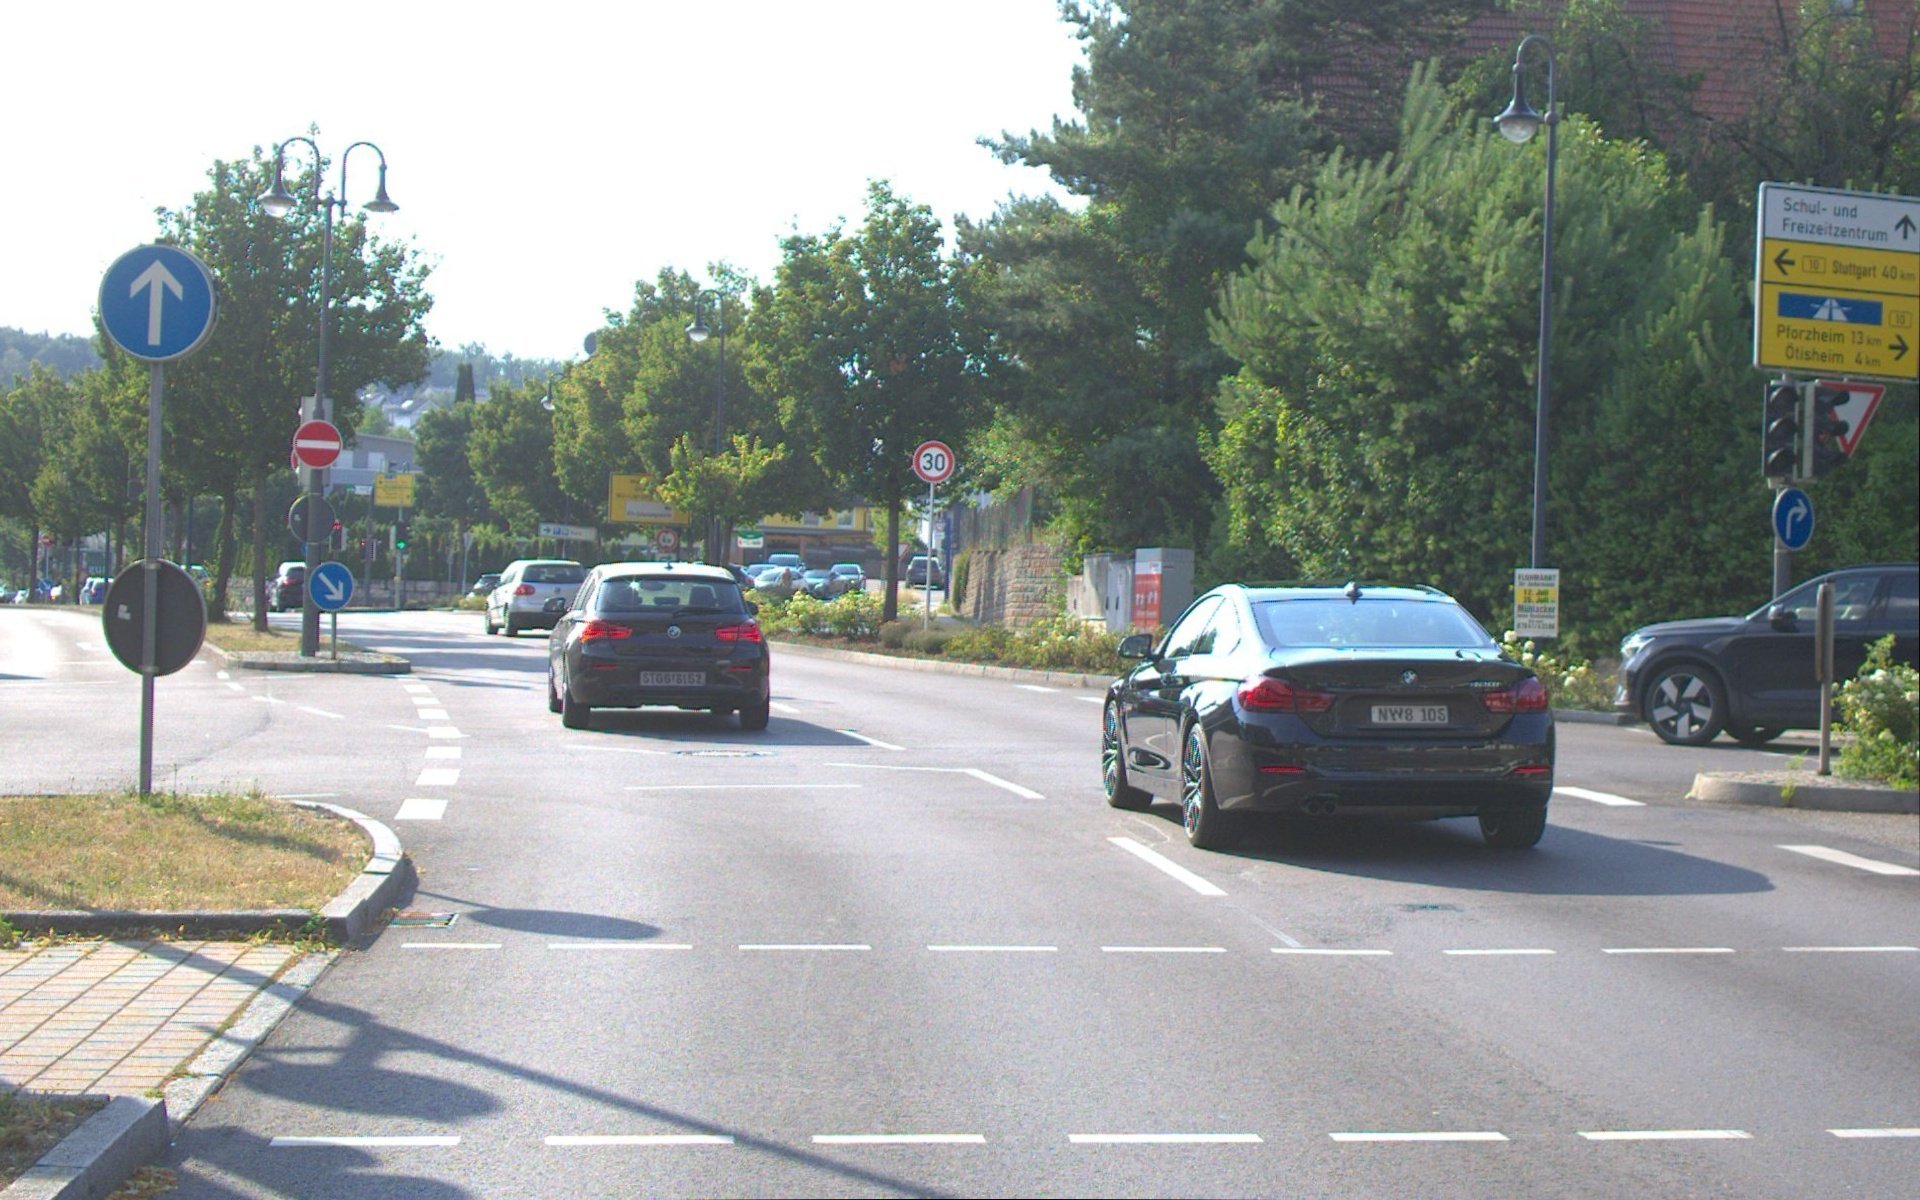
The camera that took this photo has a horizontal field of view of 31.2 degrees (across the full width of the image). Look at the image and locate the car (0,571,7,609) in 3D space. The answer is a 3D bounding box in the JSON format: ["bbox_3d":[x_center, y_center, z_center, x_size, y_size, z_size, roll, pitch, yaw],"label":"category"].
[{"bbox_3d":[-43.600,-0.486,153.957,1.729,1.673,4.001,1,0,-15],"label":"car"}]

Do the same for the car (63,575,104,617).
[{"bbox_3d":[-43.507,-0.212,170.690,1.772,2.007,4.001,1,1,-13],"label":"car"}]

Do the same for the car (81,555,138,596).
[{"bbox_3d":[-38.658,-1.126,156.164,2.216,1.763,4.456,1,1,-17],"label":"car"}]

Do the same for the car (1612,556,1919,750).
[{"bbox_3d":[7.948,0.446,29.418,4.266,1.561,1.789,2,1,35],"label":"car"}]

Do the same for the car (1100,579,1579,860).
[{"bbox_3d":[1.948,0.577,19.012,1.920,1.359,4.353,1,0,-3],"label":"car"}]

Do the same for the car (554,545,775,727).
[{"bbox_3d":[-2.717,0.279,30.840,1.720,1.485,4.354,1,0,-8],"label":"car"}]

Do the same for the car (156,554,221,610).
[{"bbox_3d":[-25.298,-0.606,112.612,1.755,1.763,3.972,1,0,-17],"label":"car"}]

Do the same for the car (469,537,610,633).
[{"bbox_3d":[-8.155,-0.304,66.387,1.924,1.763,4.456,1,1,-17],"label":"car"}]

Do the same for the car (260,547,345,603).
[{"bbox_3d":[-21.506,-0.823,112.273,2.216,1.763,4.456,1,1,-17],"label":"car"}]
